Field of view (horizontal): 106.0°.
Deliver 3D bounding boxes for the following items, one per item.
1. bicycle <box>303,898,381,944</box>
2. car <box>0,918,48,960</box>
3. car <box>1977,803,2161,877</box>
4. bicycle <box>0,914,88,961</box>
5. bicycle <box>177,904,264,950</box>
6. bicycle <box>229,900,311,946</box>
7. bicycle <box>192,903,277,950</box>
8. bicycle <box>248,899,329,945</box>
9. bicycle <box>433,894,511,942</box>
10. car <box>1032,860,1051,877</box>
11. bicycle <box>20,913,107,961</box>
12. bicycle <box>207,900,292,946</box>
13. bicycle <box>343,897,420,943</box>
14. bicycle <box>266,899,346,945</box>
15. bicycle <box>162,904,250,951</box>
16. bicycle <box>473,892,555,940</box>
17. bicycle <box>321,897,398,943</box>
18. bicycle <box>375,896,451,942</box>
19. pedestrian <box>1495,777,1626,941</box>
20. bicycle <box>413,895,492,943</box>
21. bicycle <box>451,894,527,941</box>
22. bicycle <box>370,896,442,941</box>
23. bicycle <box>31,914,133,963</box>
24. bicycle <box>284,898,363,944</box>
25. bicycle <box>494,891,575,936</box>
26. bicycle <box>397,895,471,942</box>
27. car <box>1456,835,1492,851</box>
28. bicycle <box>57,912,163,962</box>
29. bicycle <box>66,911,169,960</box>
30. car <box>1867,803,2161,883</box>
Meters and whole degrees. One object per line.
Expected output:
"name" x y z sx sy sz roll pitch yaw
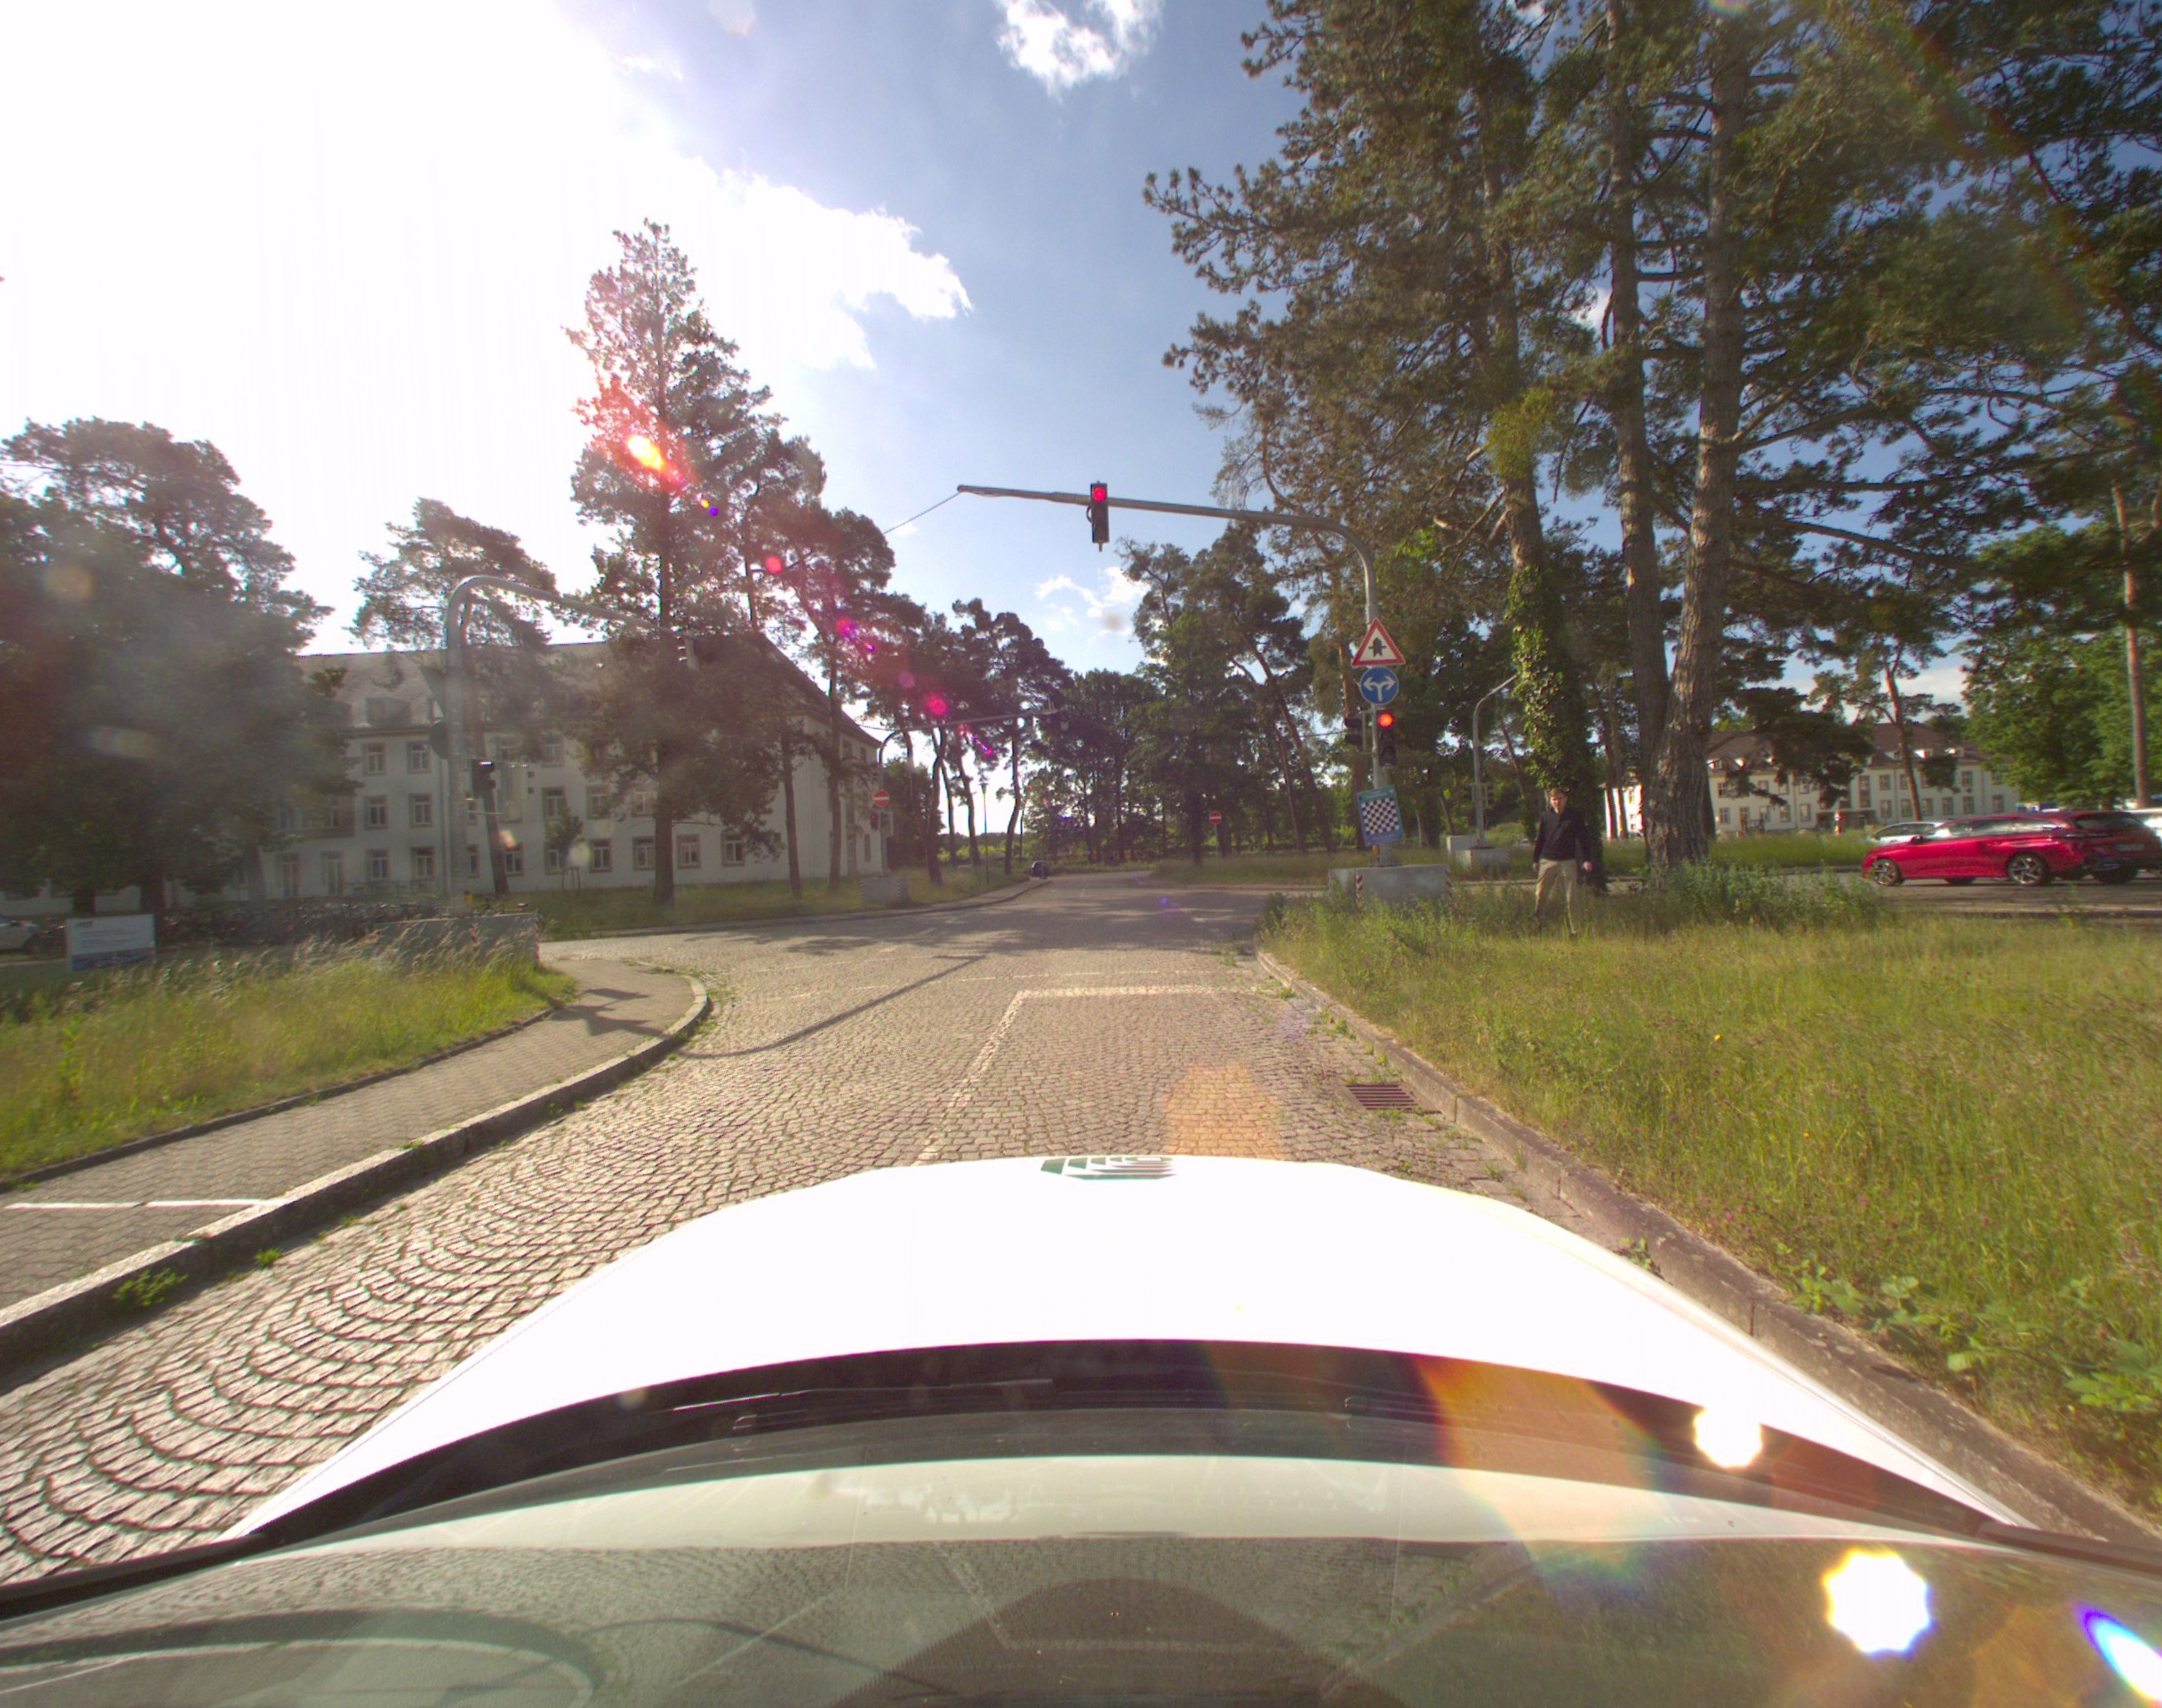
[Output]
"bicycle" -22.482 2.003 24.824 0.512 1.220 1.977 -3 0 1
"car" -34.078 2.696 24.419 1.504 1.211 3.596 -3 0 3
"car" 21.667 -0.287 16.723 1.773 1.379 4.239 -3 -2 0
"bicycle" -31.058 2.477 24.401 0.513 1.220 1.824 -3 0 -7
"bicycle" -26.199 2.198 24.845 0.512 1.220 1.937 -3 0 1
"bicycle" -24.700 2.064 24.850 0.512 1.220 1.937 -3 0 1
"bicycle" -25.770 2.186 24.844 0.512 1.220 1.937 -3 0 1
"bicycle" -24.108 2.047 24.830 0.512 1.220 1.937 -3 0 1
"bicycle" -18.036 1.876 24.193 0.631 1.220 2.124 -3 0 1
"car" -3.916 1.407 80.668 1.705 1.496 3.917 -3 0 -1
"bicycle" -30.452 2.459 24.416 0.514 1.220 1.823 -3 0 -9
"bicycle" -25.311 2.081 24.840 0.512 1.220 1.937 -3 0 1
"bicycle" -21.316 1.973 24.873 0.512 1.220 2.016 -3 0 1
"bicycle" -23.563 2.031 24.806 0.512 1.220 1.937 -3 0 1
"bicycle" -26.647 2.211 24.854 0.512 1.220 1.937 -3 0 1
"bicycle" -16.311 1.779 23.437 1.855 1.220 0.635 -3 0 0
"bicycle" -21.964 1.992 24.829 0.512 1.220 1.977 -3 0 1
"bicycle" -20.233 1.943 24.723 0.576 1.220 2.029 -3 0 1
"pedestrian" 5.718 0.064 9.700 1.157 1.796 1.070 -3 0 36
"bicycle" -18.640 1.894 24.202 0.631 1.220 2.104 -3 0 1
"bicycle" -17.553 1.861 24.200 0.631 1.220 2.114 -3 0 1
"bicycle" -20.798 1.959 25.147 0.546 1.220 1.900 -3 0 1
"bicycle" -29.115 2.428 23.764 0.509 1.220 1.841 -3 0 38
"bicycle" -23.008 2.015 24.793 0.512 1.220 1.954 -3 0 1
"bicycle" -16.195 1.757 24.151 1.938 1.220 0.635 -3 0 0
"bicycle" -19.488 1.919 24.591 0.570 1.220 1.990 -3 0 1
"car" 41.455 -1.164 86.021 1.820 1.582 4.163 -3 0 1
"bicycle" -27.615 2.350 23.195 1.837 1.220 0.510 -3 0 -35
"bicycle" -28.005 2.356 23.705 1.837 1.220 0.510 -3 0 -35
"car" 18.791 -0.157 16.556 1.649 1.399 4.130 -2 -1 1
